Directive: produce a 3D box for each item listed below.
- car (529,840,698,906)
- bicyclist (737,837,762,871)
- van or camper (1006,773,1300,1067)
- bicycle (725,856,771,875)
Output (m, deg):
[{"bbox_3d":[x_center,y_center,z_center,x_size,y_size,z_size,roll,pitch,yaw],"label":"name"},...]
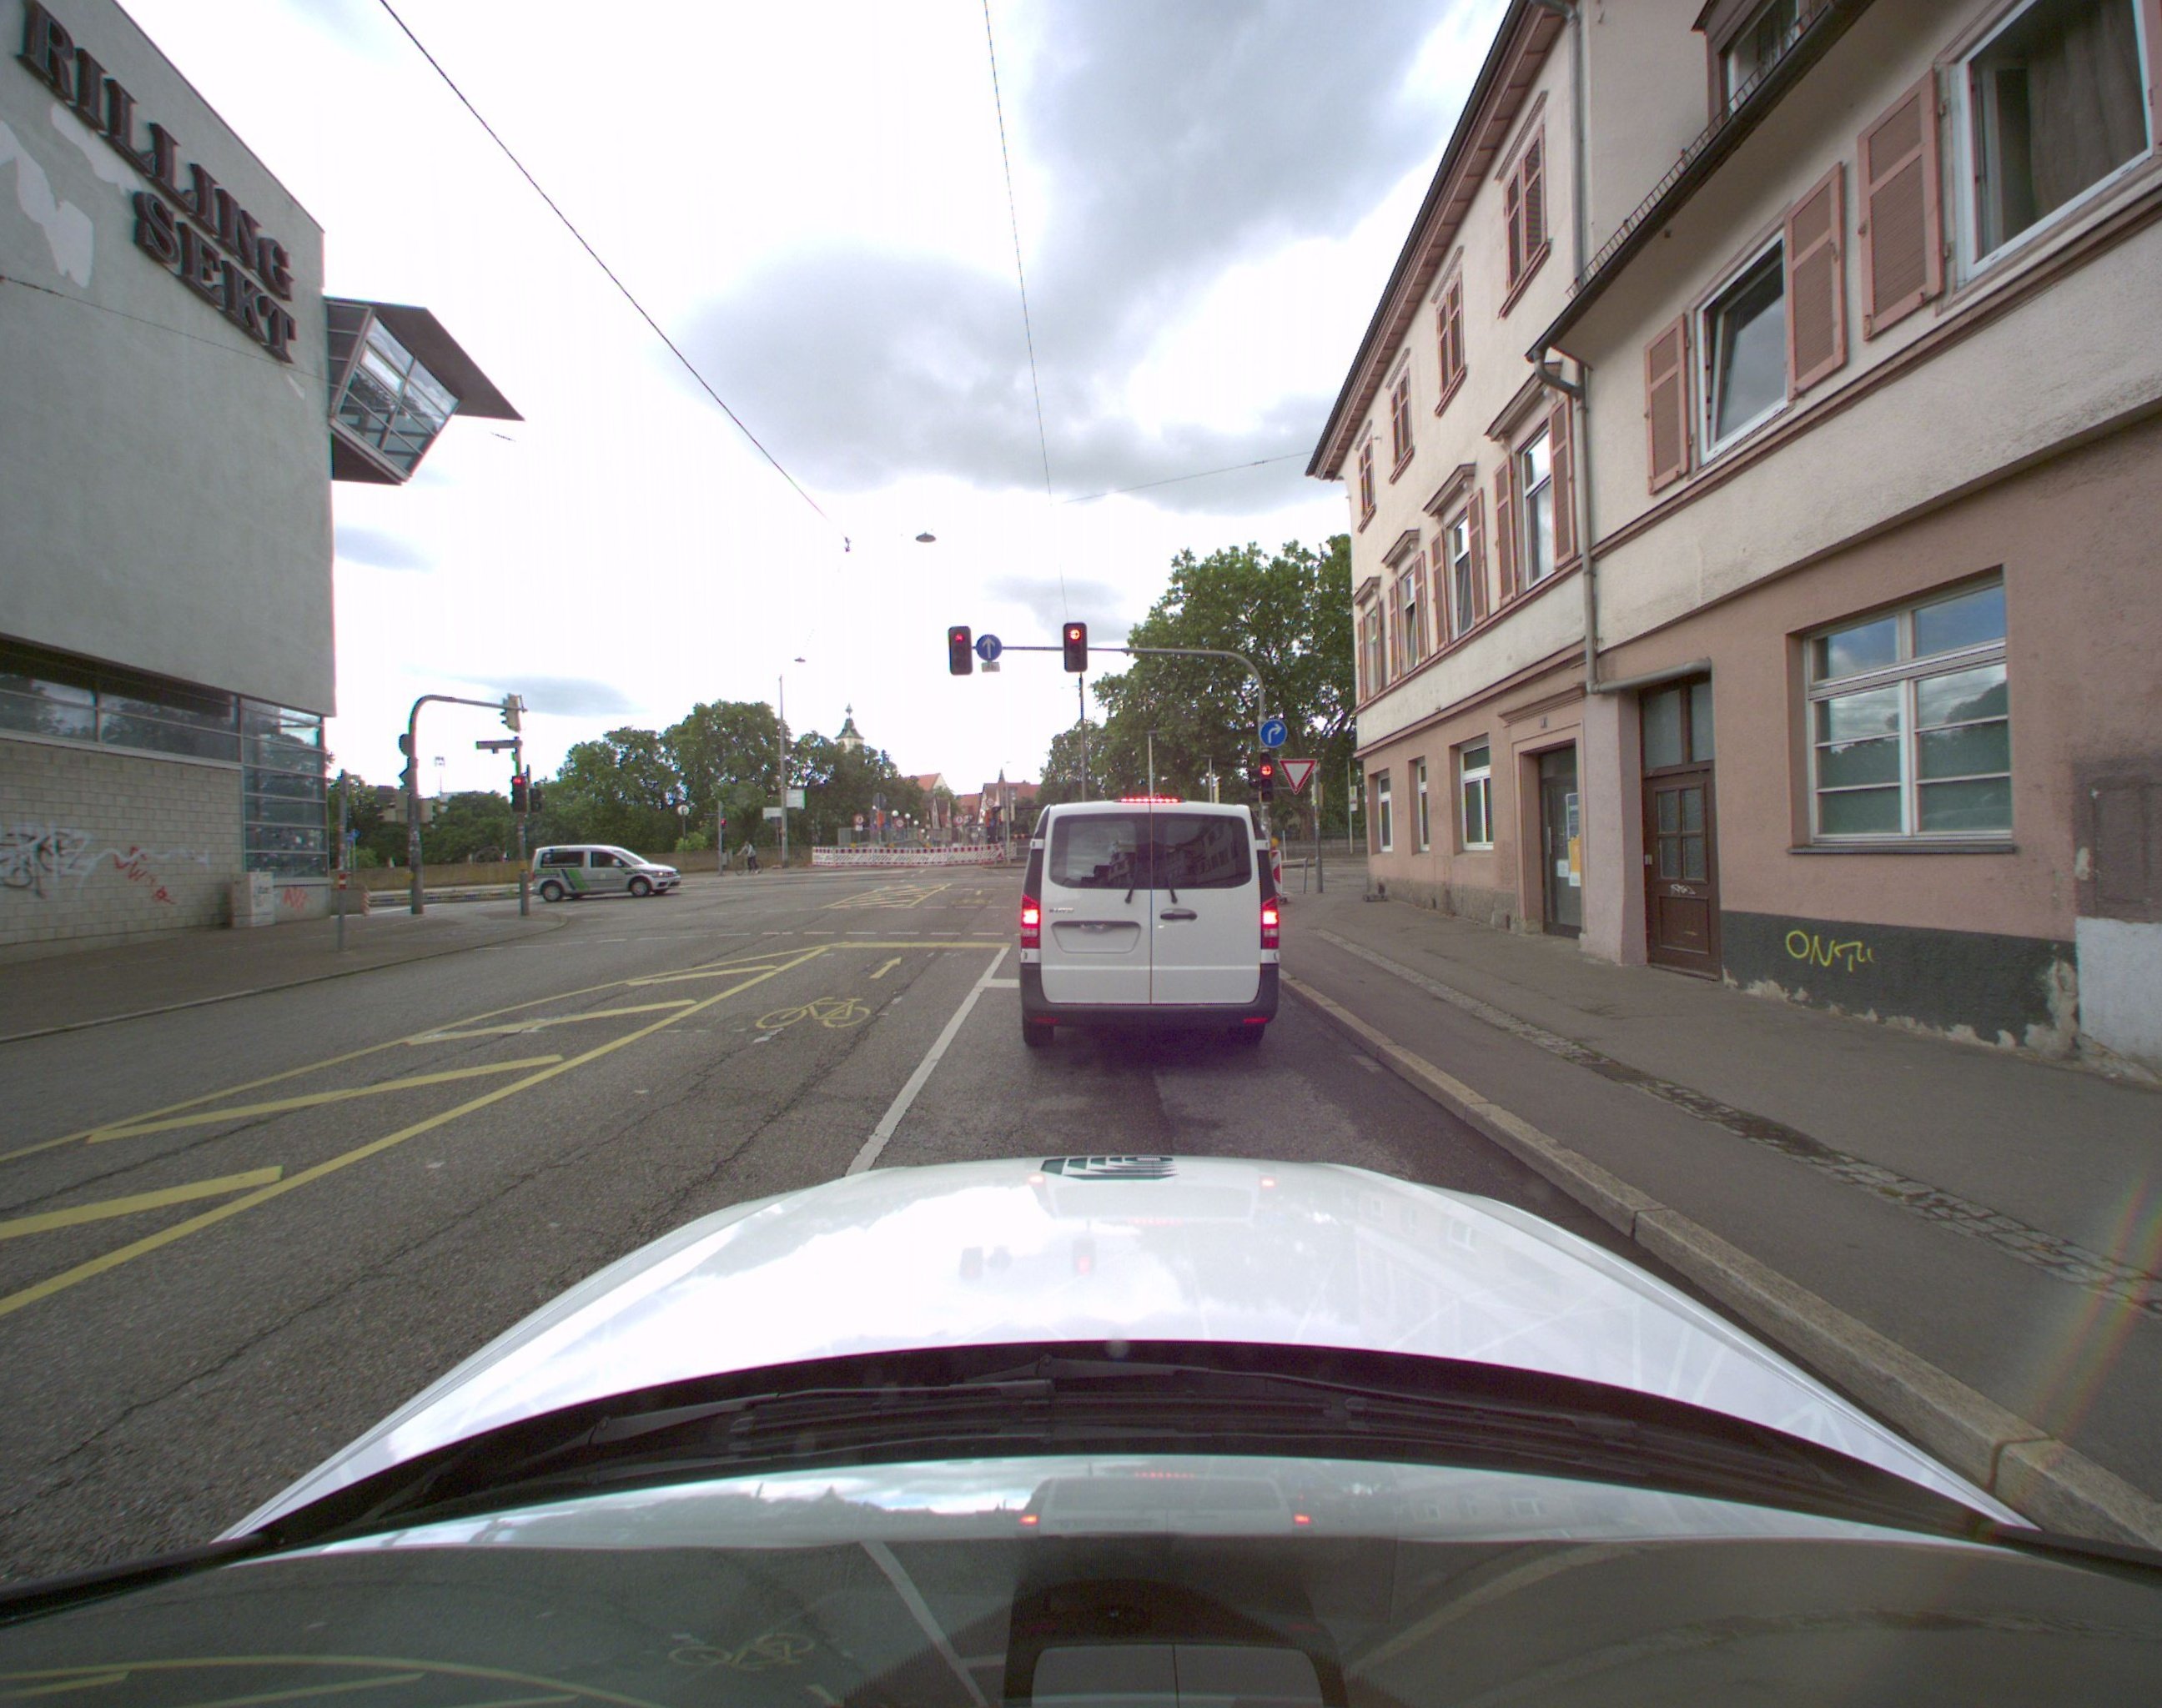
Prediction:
[{"bbox_3d":[-15.572,0.577,27.367,4.344,1.802,1.995,-4,2,-8],"label":"car"},{"bbox_3d":[-17.814,-0.014,43.723,1.010,1.743,0.746,-2,2,-40],"label":"bicyclist"},{"bbox_3d":[0.463,0.378,7.565,1.932,1.924,4.440,0,1,-1],"label":"van or camper"},{"bbox_3d":[-17.842,0.587,43.706,2.149,0.892,0.751,-3,2,-40],"label":"bicycle"}]
